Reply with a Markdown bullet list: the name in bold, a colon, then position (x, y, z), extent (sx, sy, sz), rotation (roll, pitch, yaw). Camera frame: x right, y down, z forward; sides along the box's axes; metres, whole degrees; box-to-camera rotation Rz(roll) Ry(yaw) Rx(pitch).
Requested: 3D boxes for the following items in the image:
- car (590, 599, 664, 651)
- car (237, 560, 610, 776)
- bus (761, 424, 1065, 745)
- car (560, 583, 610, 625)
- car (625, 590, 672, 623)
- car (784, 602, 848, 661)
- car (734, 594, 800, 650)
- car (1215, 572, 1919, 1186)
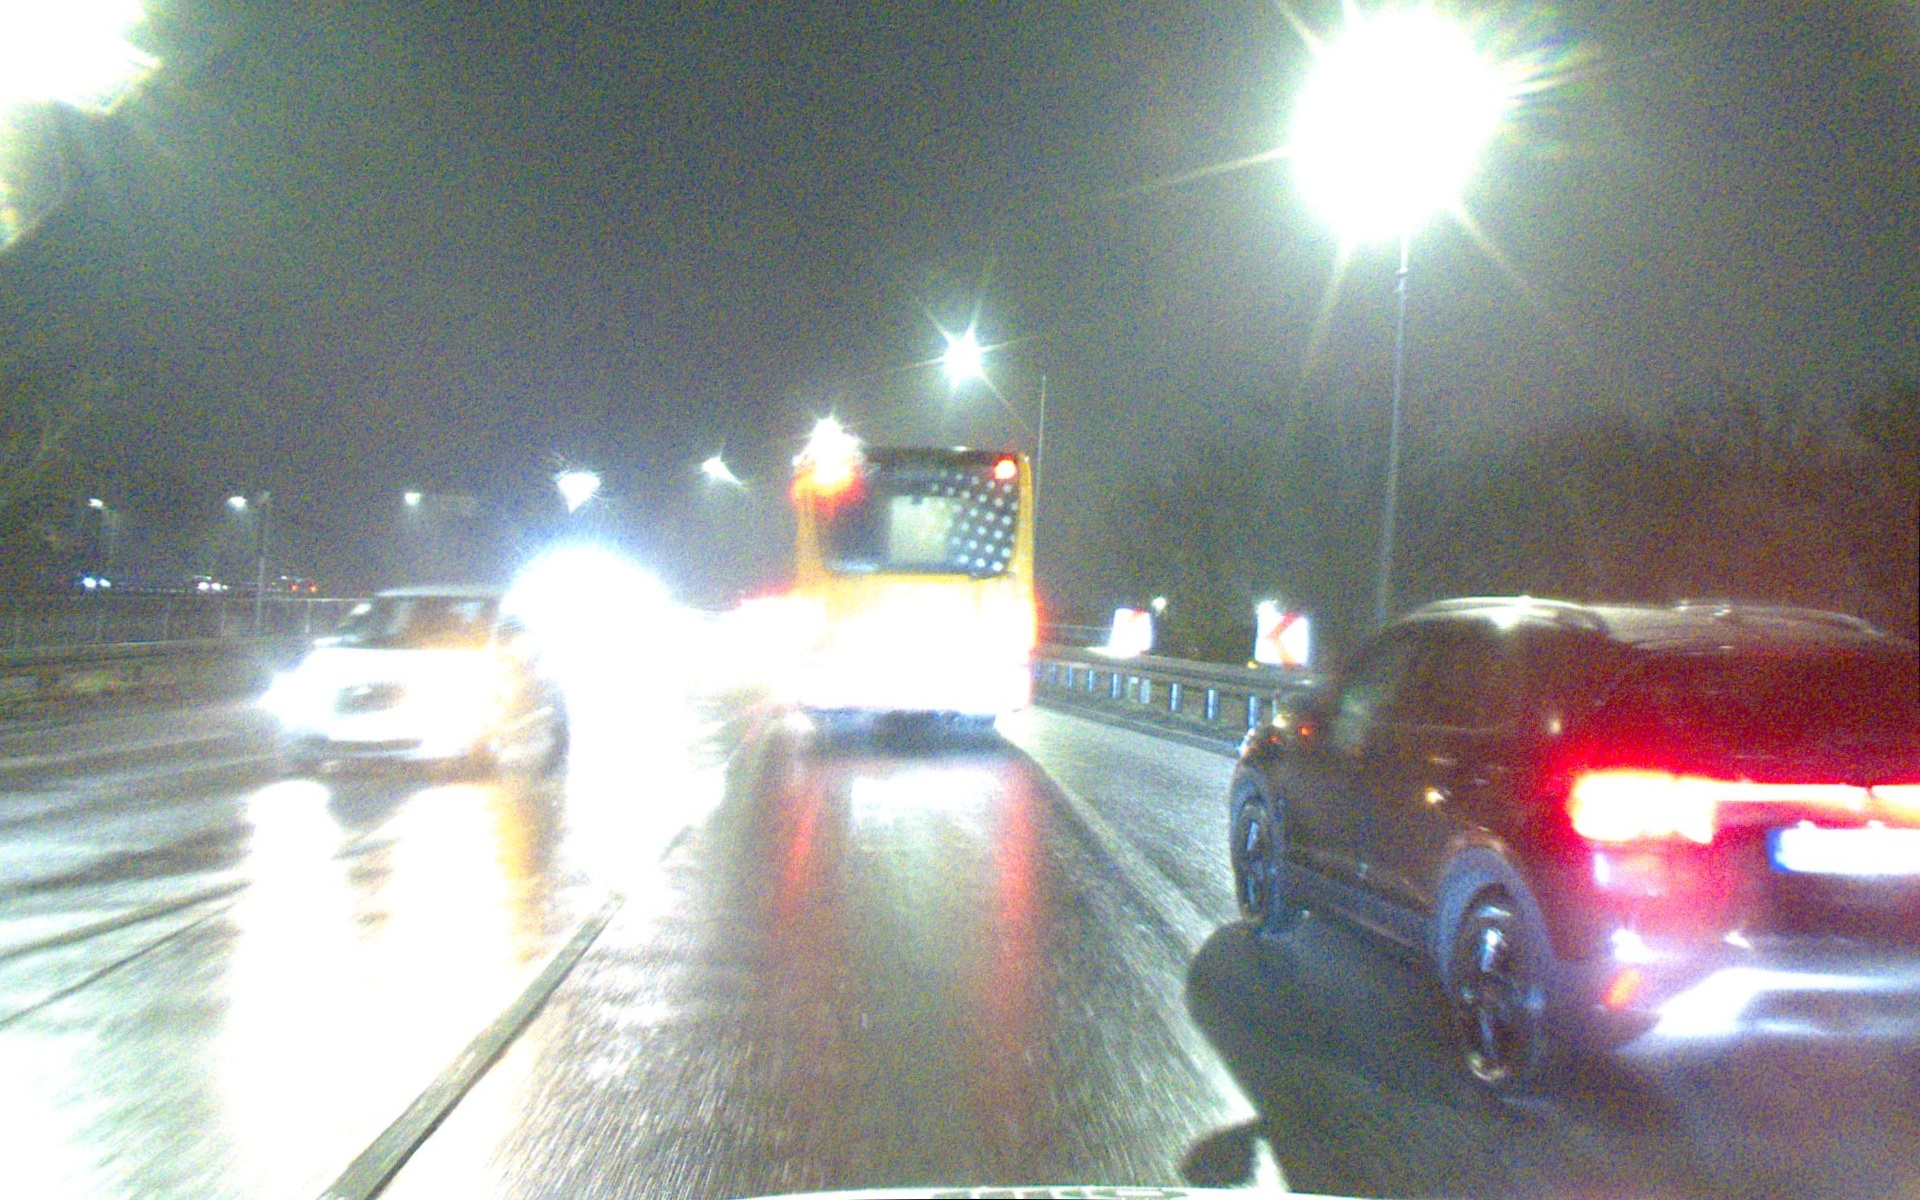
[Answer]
- **car**: position (-10.469, 0.770, 52.217), extent (1.731, 1.544, 3.946), rotation (1, 0, -4)
- **car**: position (-4.865, 0.549, 15.800), extent (1.958, 1.704, 4.617), rotation (2, 0, 1)
- **bus**: position (-1.094, -0.198, 23.004), extent (3.024, 3.187, 12.681), rotation (1, 0, -6)
- **car**: position (-19.793, 0.197, 87.250), extent (1.964, 2.049, 3.976), rotation (4, -1, -20)
- **car**: position (-17.472, 0.354, 92.688), extent (1.964, 1.769, 3.978), rotation (2, 0, -19)
- **car**: position (-4.319, 0.912, 49.254), extent (1.606, 1.684, 3.702), rotation (1, 0, -9)
- **car**: position (-7.697, 0.905, 65.647), extent (1.960, 2.049, 3.984), rotation (3, -3, -15)
- **car**: position (2.403, 0.746, 6.452), extent (1.820, 1.614, 3.994), rotation (0, 0, -6)
